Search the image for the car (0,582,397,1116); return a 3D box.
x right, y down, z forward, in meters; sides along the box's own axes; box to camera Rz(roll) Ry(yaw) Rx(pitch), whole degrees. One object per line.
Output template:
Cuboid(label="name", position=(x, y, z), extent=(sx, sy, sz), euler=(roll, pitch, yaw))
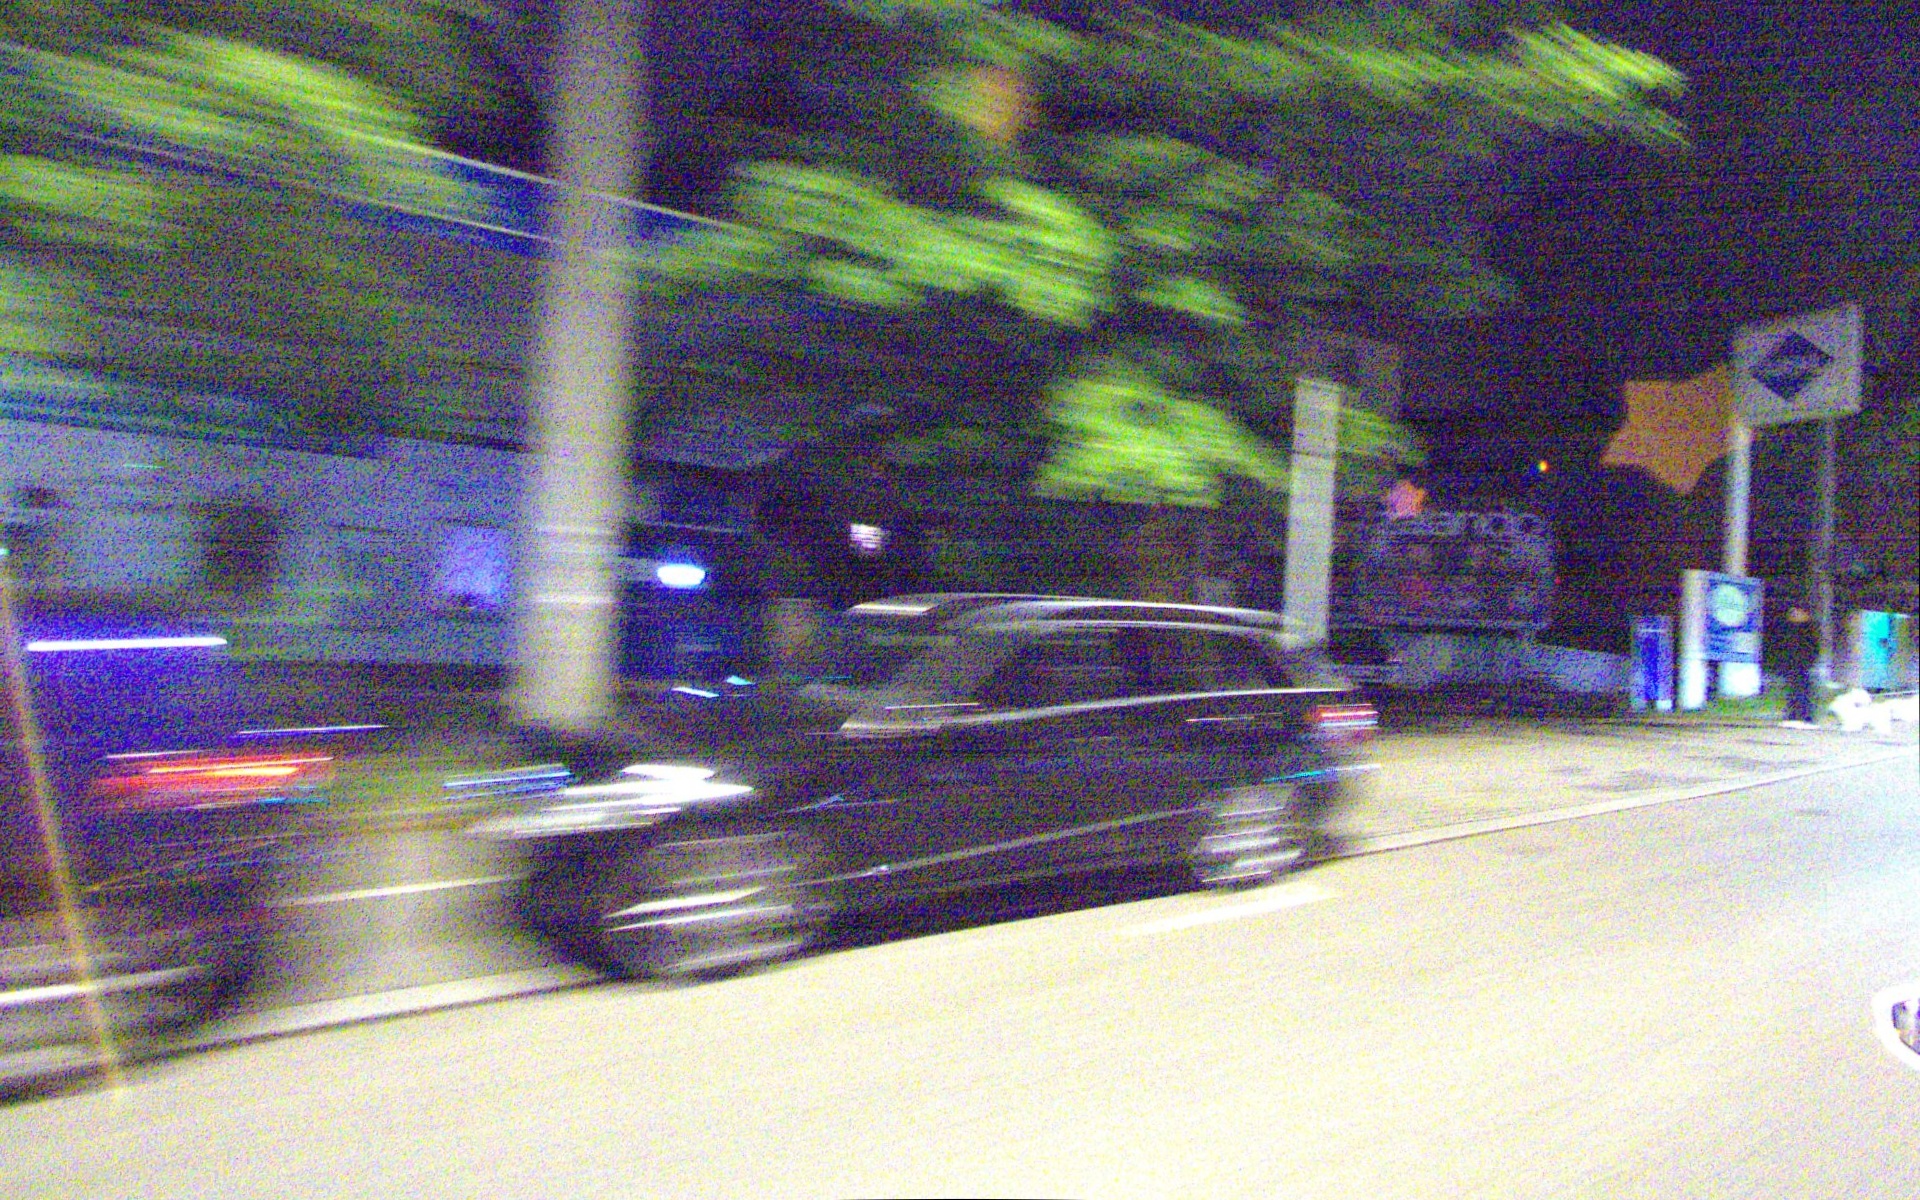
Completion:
Cuboid(label="car", position=(-4.032, 0.660, 2.930), extent=(4.141, 1.457, 1.713), euler=(1, 0, -30))

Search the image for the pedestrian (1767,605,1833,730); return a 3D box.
Cuboid(label="pedestrian", position=(11.890, 0.938, 14.223), extent=(0.526, 1.722, 0.576), euler=(2, 0, -37))

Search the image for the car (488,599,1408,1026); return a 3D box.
Cuboid(label="car", position=(0.144, 0.741, 5.408), extent=(4.754, 1.457, 1.712), euler=(0, 1, -30))

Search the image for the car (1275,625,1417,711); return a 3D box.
Cuboid(label="car", position=(7.635, 1.287, 20.179), extent=(1.758, 1.472, 3.268), euler=(2, 0, 4))
